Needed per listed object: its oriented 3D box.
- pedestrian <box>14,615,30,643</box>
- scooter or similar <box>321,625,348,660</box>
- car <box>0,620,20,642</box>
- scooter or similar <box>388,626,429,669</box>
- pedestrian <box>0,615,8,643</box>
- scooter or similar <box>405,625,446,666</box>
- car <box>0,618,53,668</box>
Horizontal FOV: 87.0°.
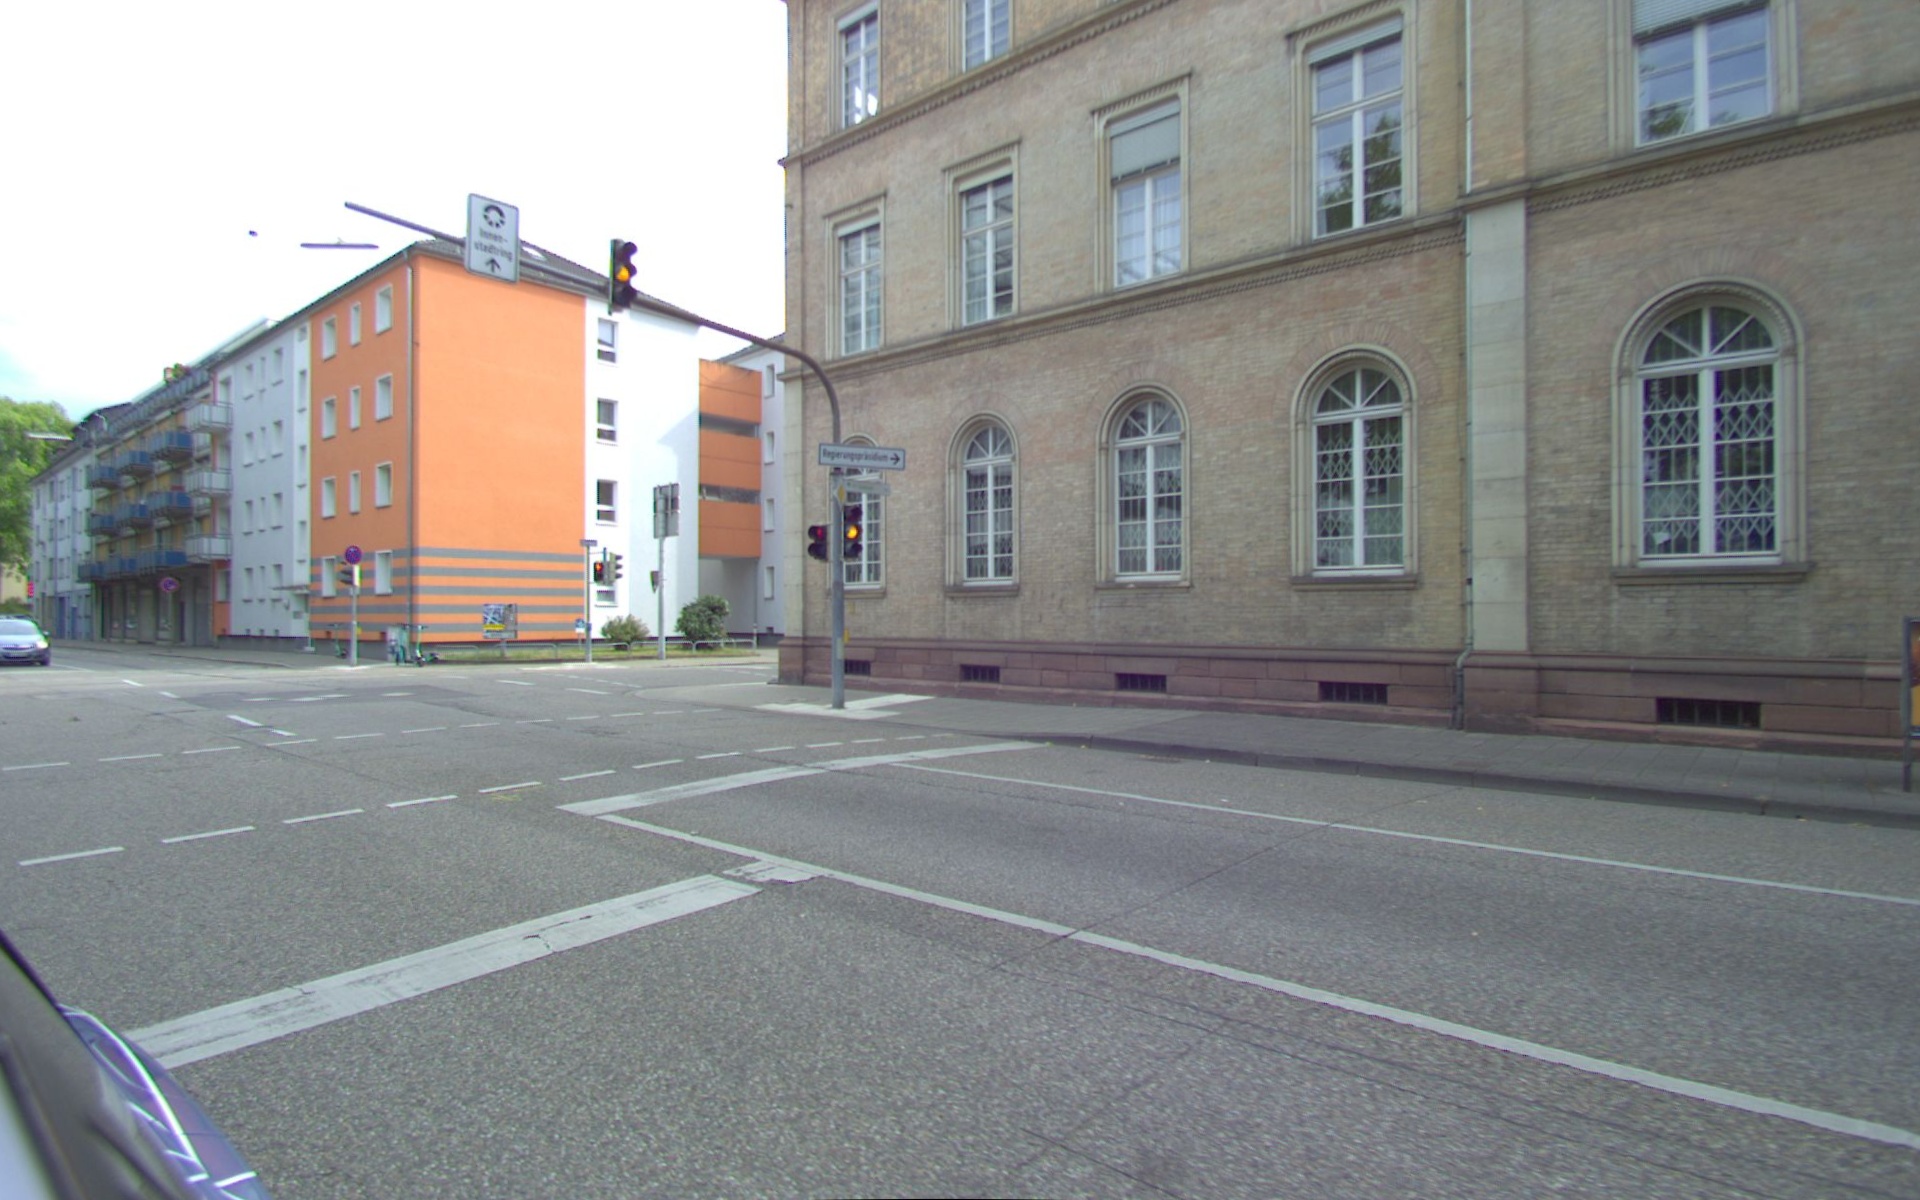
[{"bbox_3d":[-69.356,2.106,74.849,0.831,2.029,0.875,-1,0,-45],"label":"pedestrian"},{"bbox_3d":[-20.729,1.405,33.542,1.353,1.132,0.364,-2,0,42],"label":"scooter or similar"},{"bbox_3d":[-90.519,2.924,94.379,1.999,2.029,3.947,-2,0,40],"label":"car"},{"bbox_3d":[-15.690,1.347,28.780,1.337,1.188,0.327,-2,0,28],"label":"scooter or similar"},{"bbox_3d":[-69.999,2.126,73.794,0.831,2.029,0.875,-1,0,-45],"label":"pedestrian"},{"bbox_3d":[-15.557,1.332,29.447,1.348,1.166,0.327,-2,0,28],"label":"scooter or similar"},{"bbox_3d":[-29.233,1.298,31.001,3.818,1.450,1.651,-1,-2,41],"label":"car"}]
